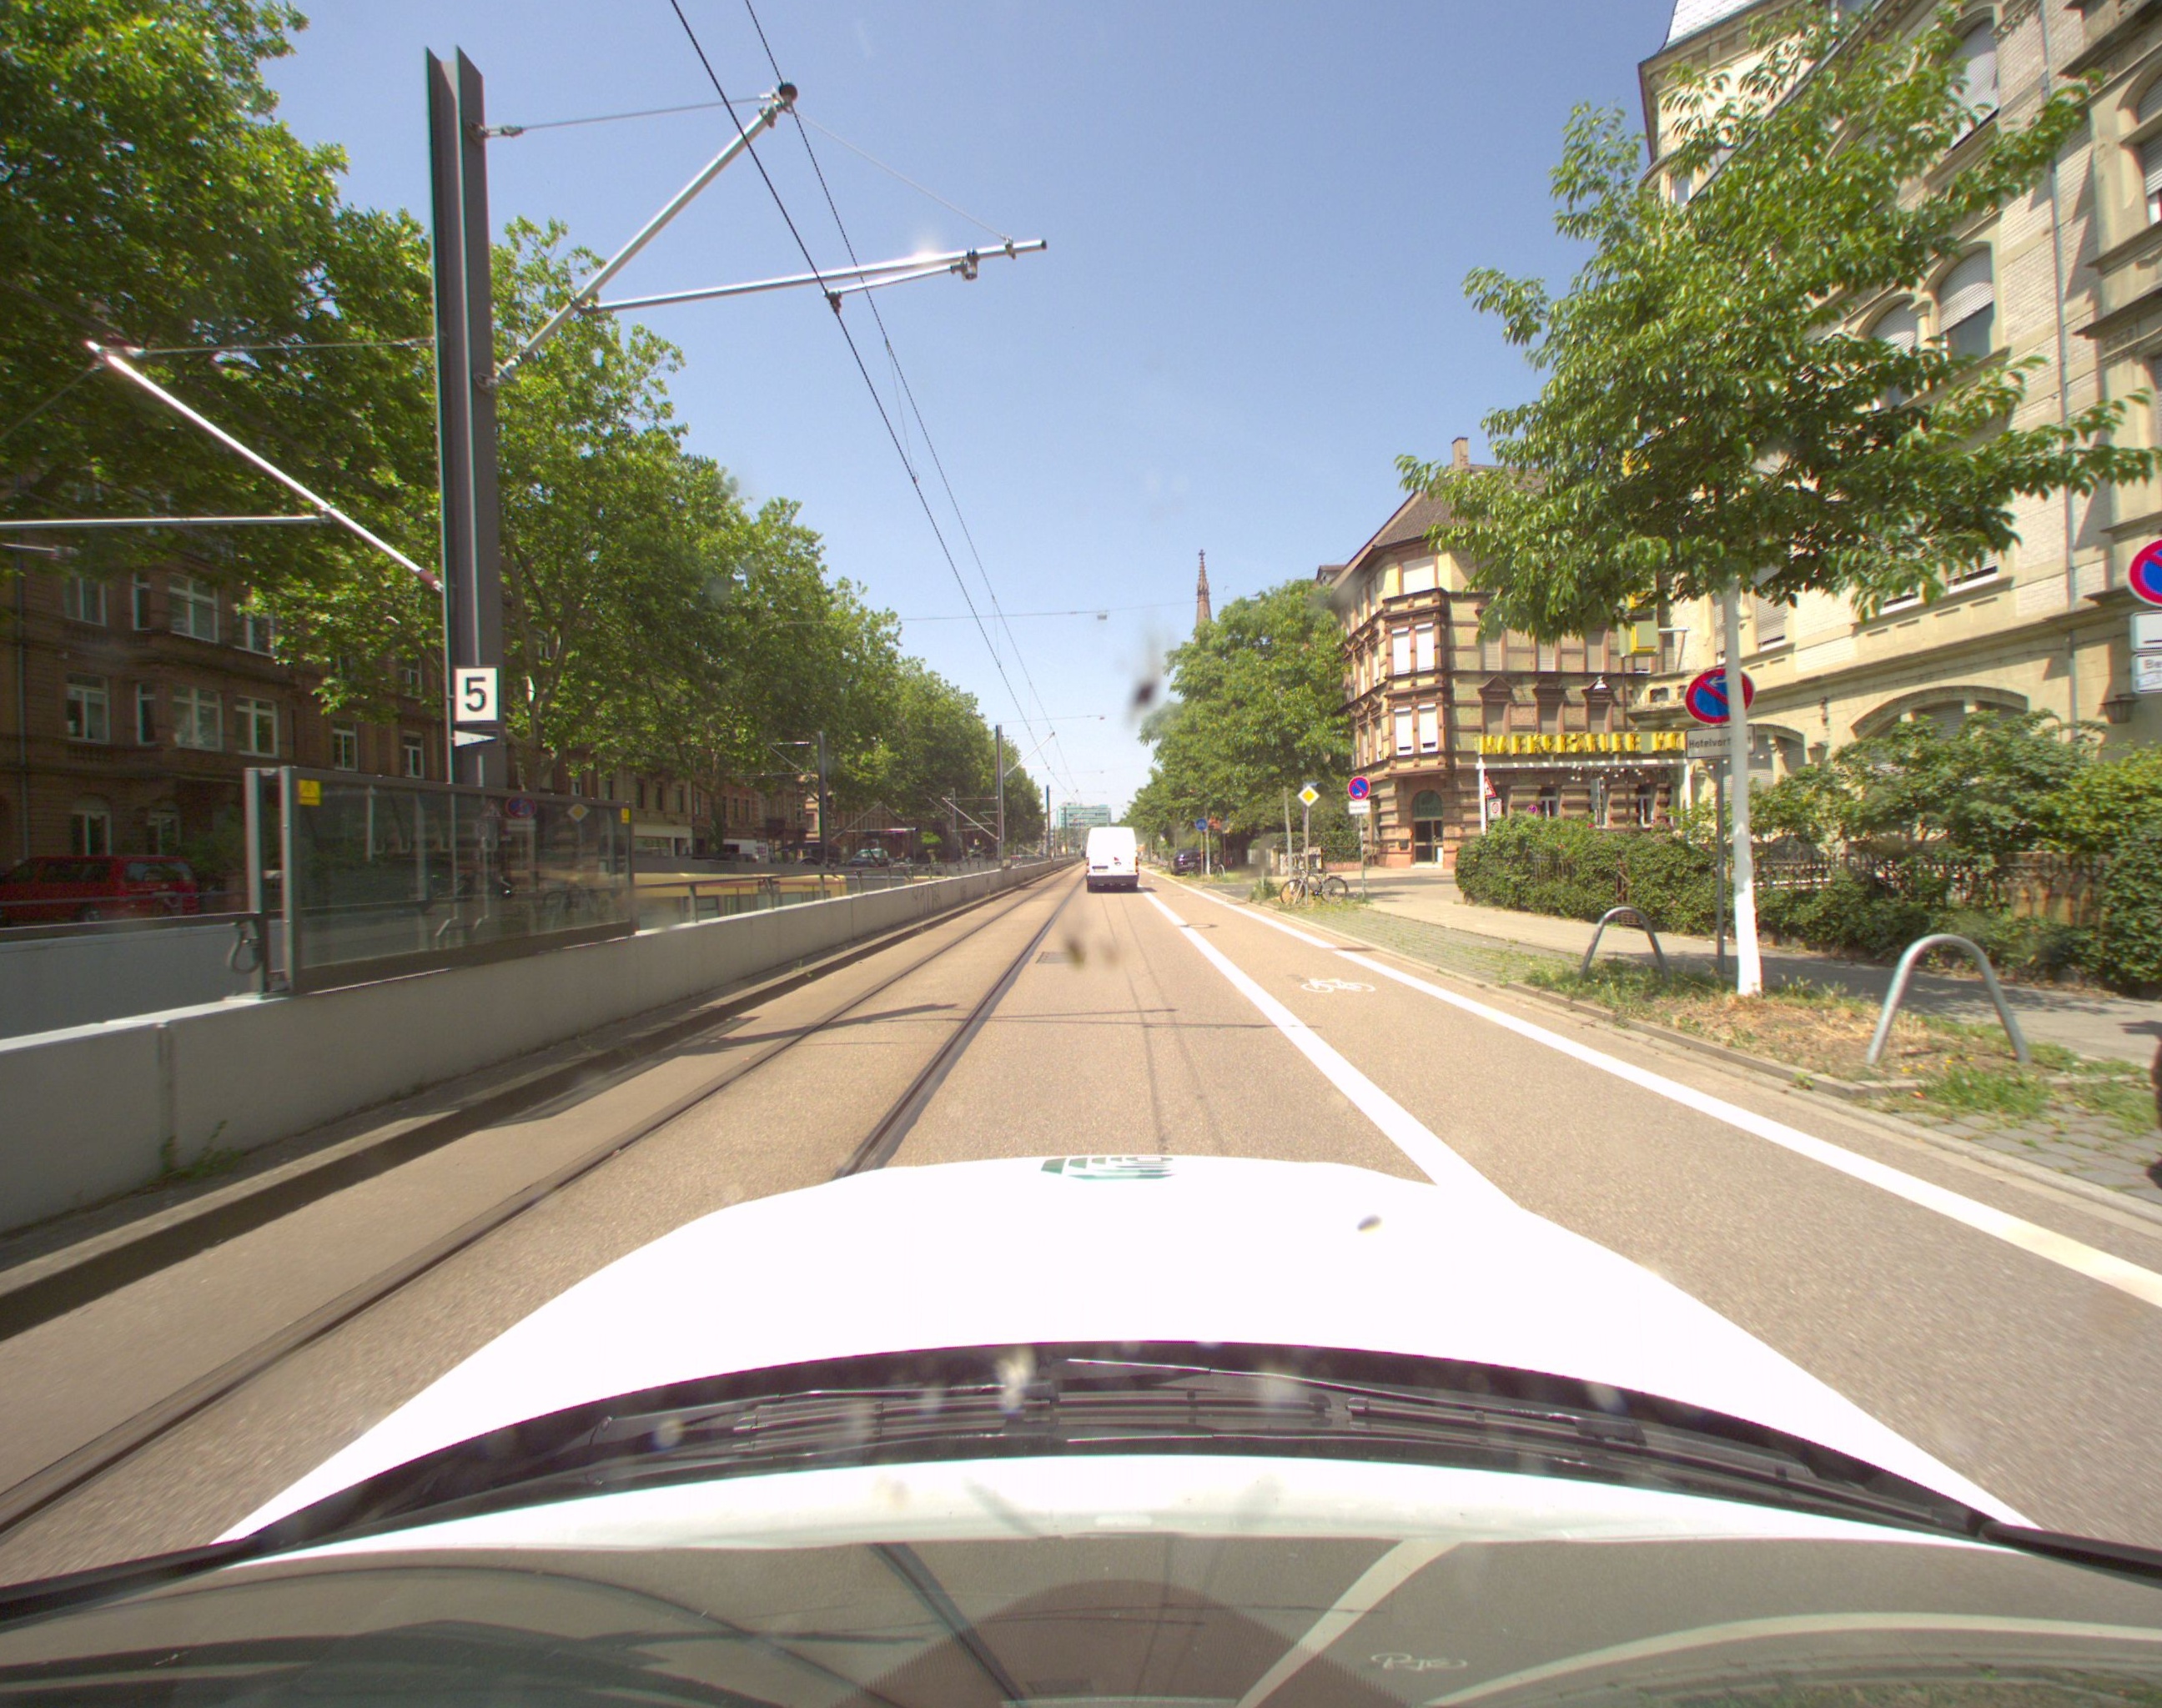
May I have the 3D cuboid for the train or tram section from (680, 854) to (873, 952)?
[{"bbox_3d":[-9.043,1.285,25.410,2.719,2.508,8.007,-1,0,2],"label":"train or tram section"}]

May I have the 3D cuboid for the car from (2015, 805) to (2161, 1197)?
[{"bbox_3d":[5.043,0.562,1.464,1.723,1.536,4.405,-1,0,1],"label":"car"}]

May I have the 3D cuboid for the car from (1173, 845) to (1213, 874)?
[{"bbox_3d":[6.939,0.309,50.698,2.147,1.670,4.004,-1,0,4],"label":"car"}]

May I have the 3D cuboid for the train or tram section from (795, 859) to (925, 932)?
[{"bbox_3d":[-8.779,1.530,33.617,2.719,2.508,8.494,-1,0,2],"label":"train or tram section"}]

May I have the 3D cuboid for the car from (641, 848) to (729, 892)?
[{"bbox_3d":[-18.439,0.695,38.123,1.987,1.904,4.149,-1,0,1],"label":"car"}]

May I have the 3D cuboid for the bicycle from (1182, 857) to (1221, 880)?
[{"bbox_3d":[6.234,0.749,42.240,1.881,1.182,0.640,-1,0,-1],"label":"bicycle"}]

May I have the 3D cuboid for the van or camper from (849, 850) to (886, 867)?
[{"bbox_3d":[-26.191,0.554,99.844,3.976,2.013,1.999,-2,0,-1],"label":"van or camper"}]

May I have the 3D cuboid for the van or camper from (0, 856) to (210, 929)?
[{"bbox_3d":[-27.424,1.048,22.697,4.519,1.836,1.936,-1,0,7],"label":"van or camper"}]

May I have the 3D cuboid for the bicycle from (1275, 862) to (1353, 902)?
[{"bbox_3d":[5.960,0.701,20.847,1.835,0.953,0.503,-2,0,3],"label":"bicycle"}]

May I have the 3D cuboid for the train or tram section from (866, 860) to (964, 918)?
[{"bbox_3d":[-8.448,1.662,42.922,2.719,2.508,10.093,-1,0,2],"label":"train or tram section"}]

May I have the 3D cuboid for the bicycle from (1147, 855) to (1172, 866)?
[{"bbox_3d":[6.857,0.572,70.793,1.548,0.826,4.016,-1,0,14],"label":"bicycle"}]

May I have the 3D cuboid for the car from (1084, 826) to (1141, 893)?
[{"bbox_3d":[1.266,0.198,33.300,2.109,2.459,5.056,-1,0,2],"label":"car"}]

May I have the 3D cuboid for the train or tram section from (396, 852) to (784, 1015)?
[{"bbox_3d":[-9.340,1.245,17.149,2.719,2.508,8.520,-1,0,2],"label":"train or tram section"}]
